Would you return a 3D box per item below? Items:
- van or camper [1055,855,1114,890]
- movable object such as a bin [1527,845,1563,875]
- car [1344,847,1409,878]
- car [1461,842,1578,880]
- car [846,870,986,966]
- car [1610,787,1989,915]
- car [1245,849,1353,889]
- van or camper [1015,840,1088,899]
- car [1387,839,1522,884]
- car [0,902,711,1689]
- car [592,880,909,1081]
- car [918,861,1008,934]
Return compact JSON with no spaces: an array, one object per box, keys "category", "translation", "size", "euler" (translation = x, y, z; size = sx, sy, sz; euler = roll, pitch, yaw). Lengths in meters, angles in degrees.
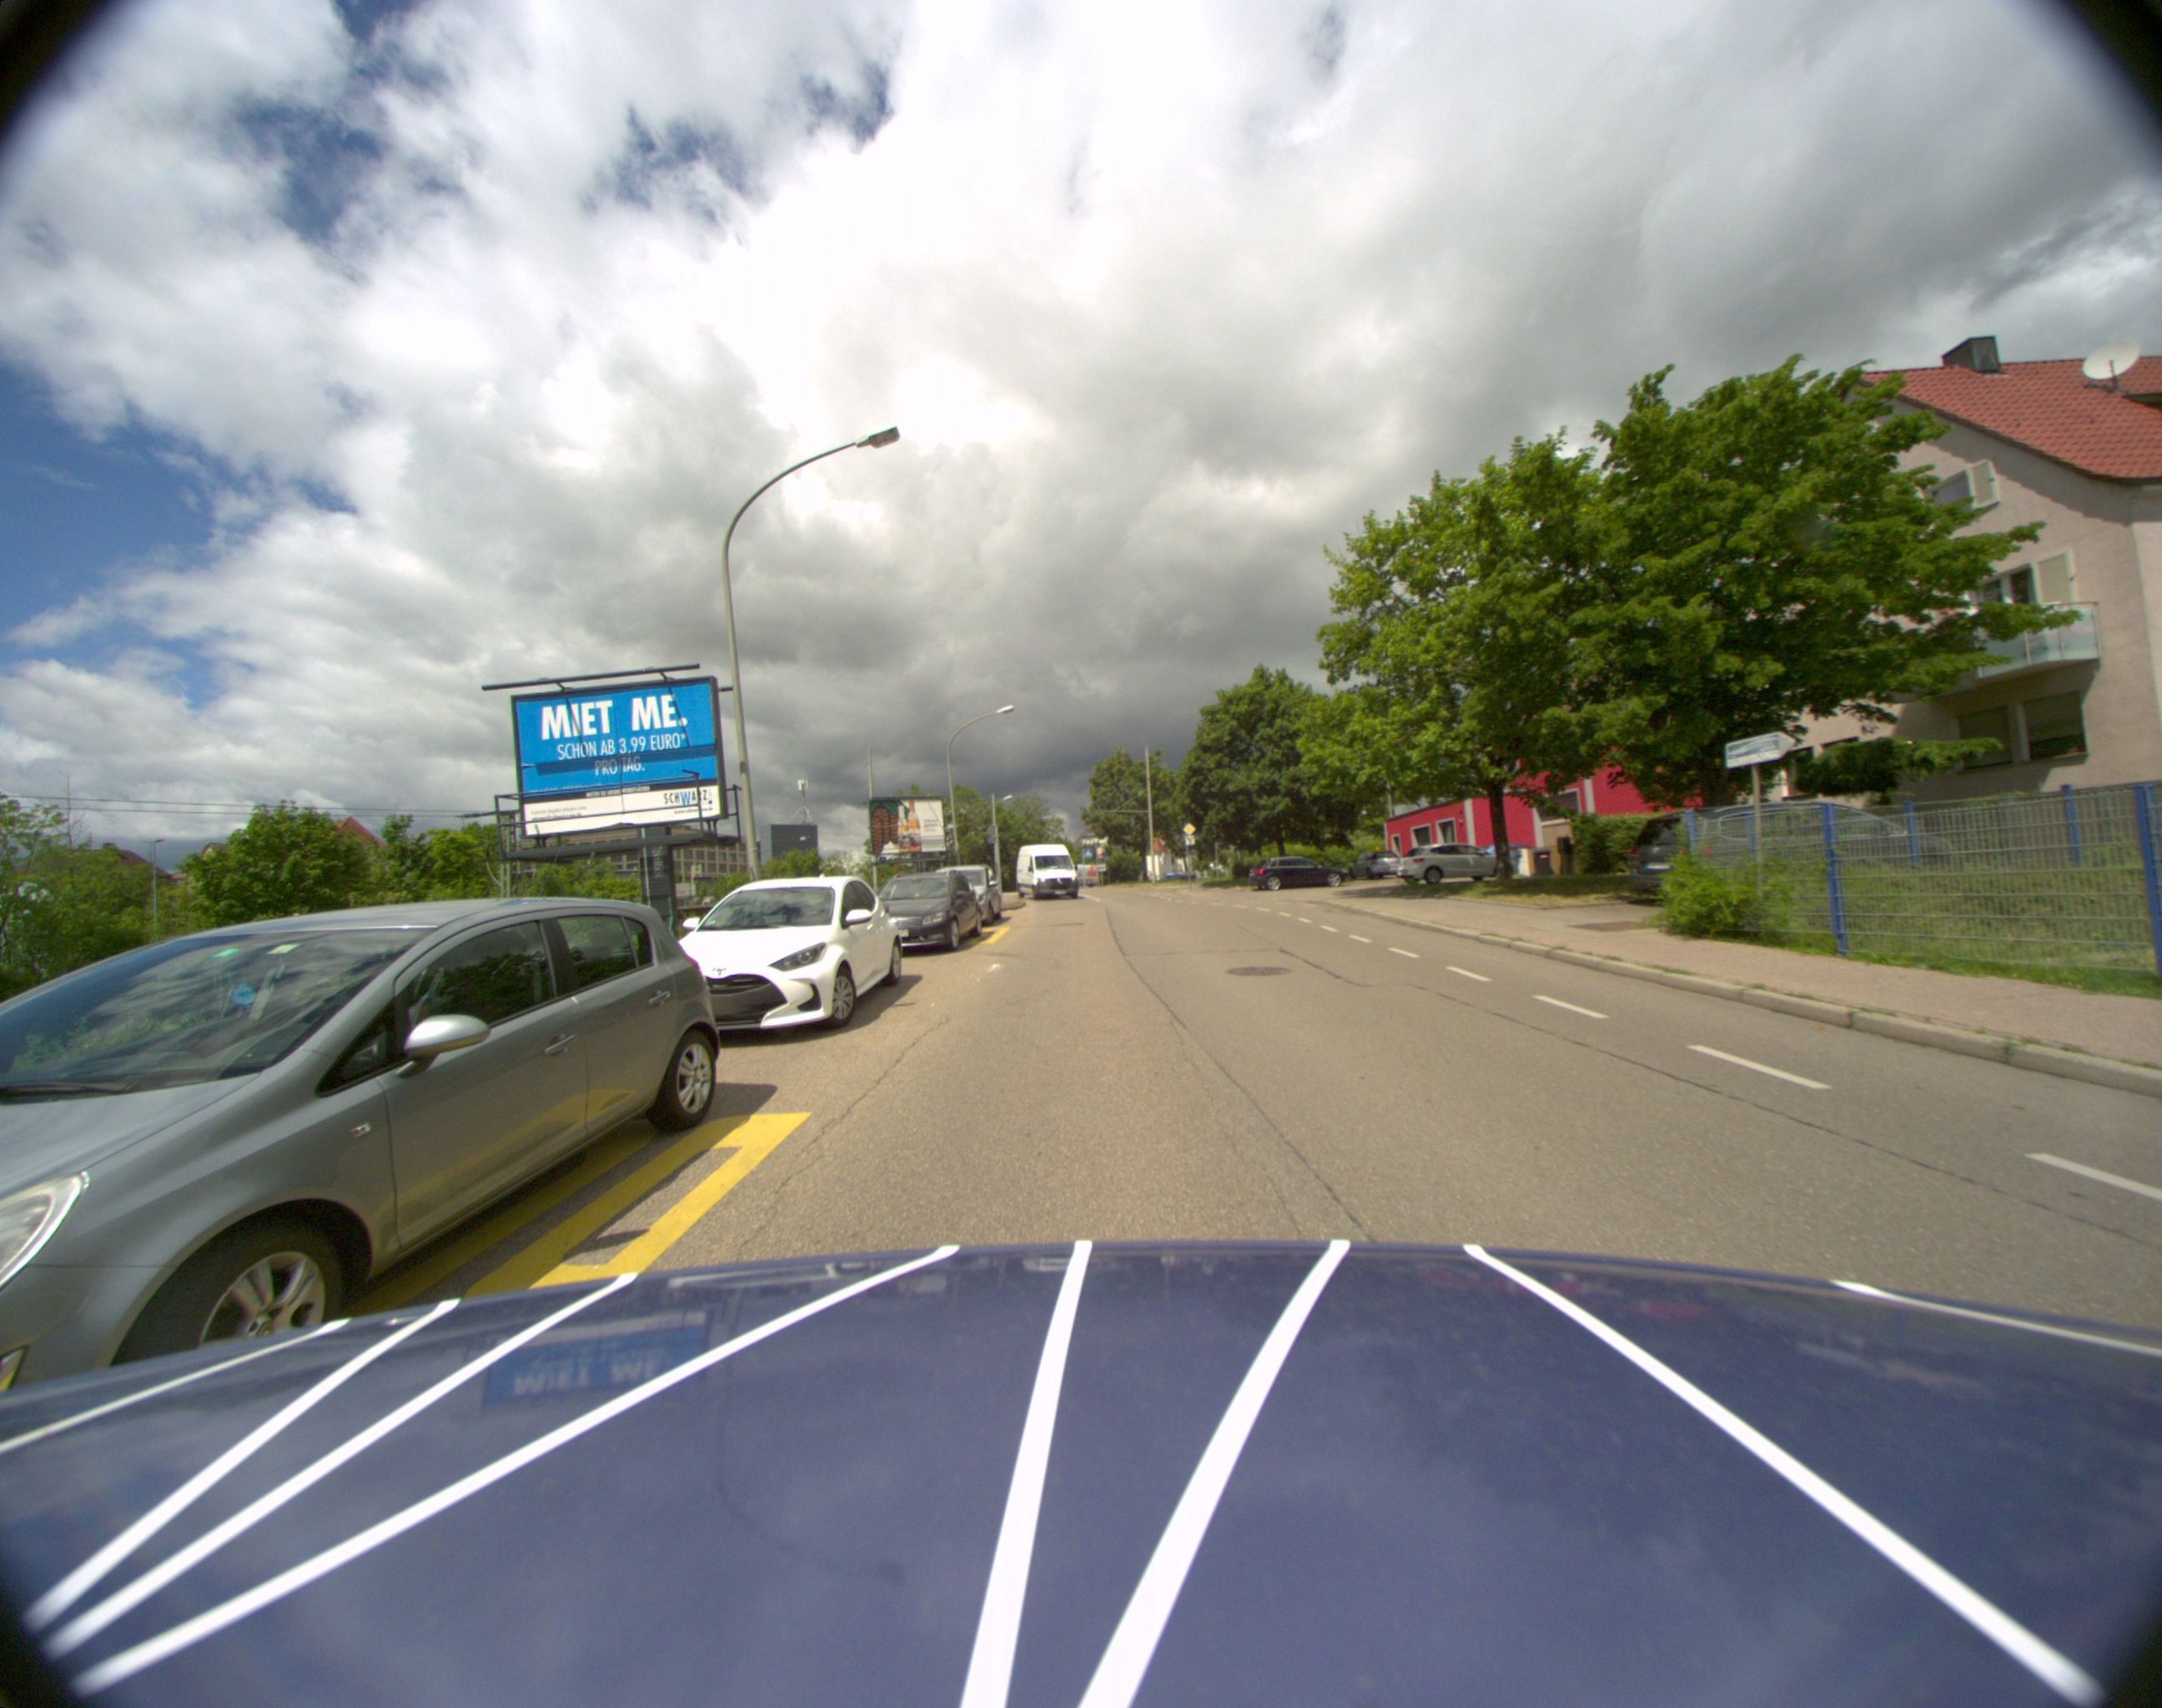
[{"category":"van or camper","translation":[0.470,1.951,76.574],"size":[2.267,2.974,8.348],"euler":[-5,-6,27]},{"category":"movable object such as a bin","translation":[17.649,0.227,28.924],"size":[0.757,1.055,0.881],"euler":[-4,-1,4]},{"category":"car","translation":[15.217,0.483,39.407],"size":[1.644,1.417,4.078],"euler":[-4,-1,-1]},{"category":"car","translation":[18.365,0.298,31.949],"size":[3.811,1.369,1.844],"euler":[-3,-2,0]},{"category":"car","translation":[-3.050,1.119,15.006],"size":[1.710,1.478,4.573],"euler":[-4,-1,-1]},{"category":"car","translation":[12.339,-0.058,13.290],"size":[4.711,1.706,1.999],"euler":[-4,1,-1]},{"category":"car","translation":[9.568,0.654,33.576],"size":[4.141,1.385,2.000],"euler":[-4,-1,0]},{"category":"van or camper","translation":[-1.542,0.835,36.471],"size":[2.195,2.550,5.924],"euler":[-1,-3,-15]},{"category":"car","translation":[13.519,0.269,27.622],"size":[3.930,1.395,1.876],"euler":[-3,-1,-4]},{"category":"car","translation":[-3.169,1.075,2.817],"size":[1.710,1.501,3.696],"euler":[-4,-1,-1]},{"category":"car","translation":[-3.175,1.104,8.253],"size":[1.710,1.470,3.957],"euler":[-4,-1,-2]},{"category":"car","translation":[-3.121,1.104,20.873],"size":[1.710,1.667,4.308],"euler":[-4,-1,-1]}]
